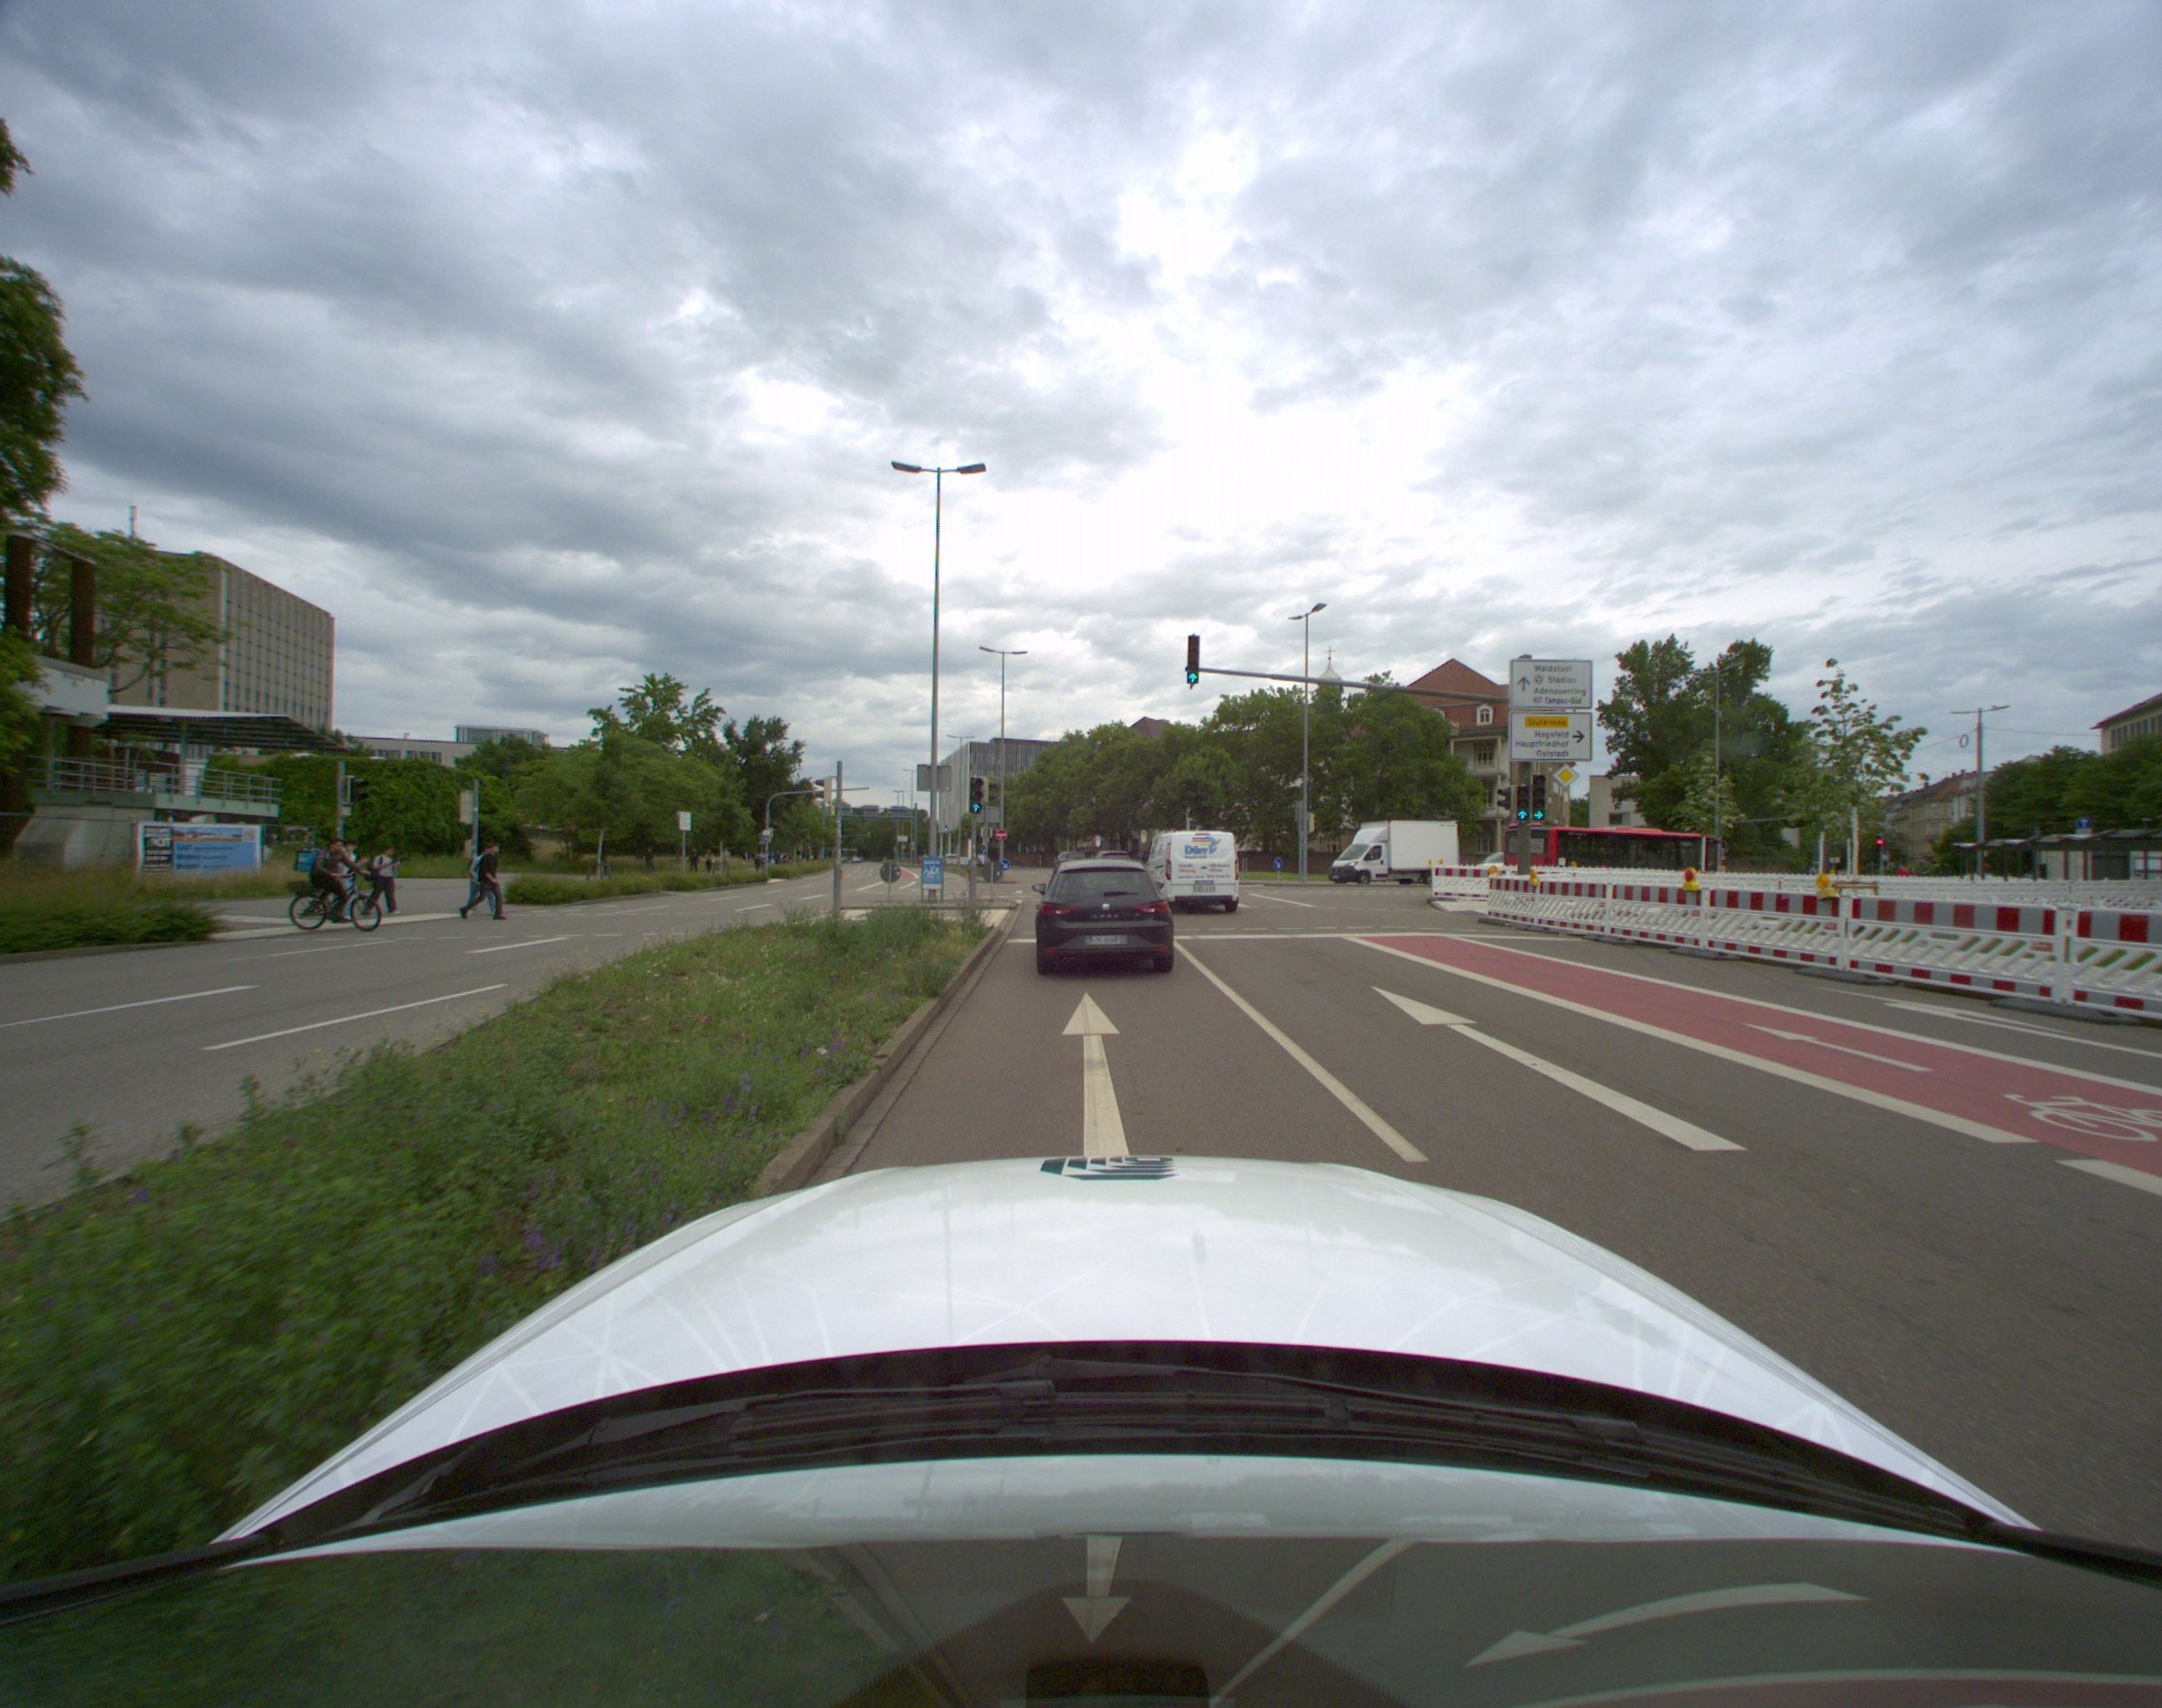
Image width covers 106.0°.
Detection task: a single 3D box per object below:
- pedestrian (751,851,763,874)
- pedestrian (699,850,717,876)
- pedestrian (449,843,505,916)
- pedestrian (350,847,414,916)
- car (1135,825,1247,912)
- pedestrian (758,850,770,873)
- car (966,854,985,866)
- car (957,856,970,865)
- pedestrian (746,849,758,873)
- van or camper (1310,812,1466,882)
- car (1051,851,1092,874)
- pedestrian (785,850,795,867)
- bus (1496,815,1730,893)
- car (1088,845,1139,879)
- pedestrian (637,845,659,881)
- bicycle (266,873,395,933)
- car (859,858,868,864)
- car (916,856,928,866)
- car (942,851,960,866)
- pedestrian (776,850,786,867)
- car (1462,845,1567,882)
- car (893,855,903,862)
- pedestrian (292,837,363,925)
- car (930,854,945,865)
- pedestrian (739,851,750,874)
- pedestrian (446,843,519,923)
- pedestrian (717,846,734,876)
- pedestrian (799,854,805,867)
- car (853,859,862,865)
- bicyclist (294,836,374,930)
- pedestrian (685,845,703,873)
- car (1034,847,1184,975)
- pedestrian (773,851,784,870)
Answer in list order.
[{"bbox_3d":[-26.242,0.716,65.919,0.713,1.870,0.755,0,-1,-9],"label":"pedestrian"},{"bbox_3d":[-24.049,0.578,52.477,0.754,1.712,1.045,0,-1,-5],"label":"pedestrian"},{"bbox_3d":[-15.353,0.641,20.714,0.889,1.842,0.668,0,-1,3],"label":"pedestrian"},{"bbox_3d":[-17.059,0.656,19.890,0.838,1.649,0.807,0,-1,3],"label":"pedestrian"},{"bbox_3d":[2.737,0.347,21.558,1.990,2.019,5.024,0,0,-4],"label":"car"},{"bbox_3d":[-27.526,0.647,70.697,0.755,2.014,1.044,0,-1,-9],"label":"pedestrian"},{"bbox_3d":[-14.633,0.840,112.424,1.923,1.684,3.975,1,0,-18],"label":"car"},{"bbox_3d":[-17.856,1.023,123.327,1.529,1.365,2.953,0,0,-16],"label":"car"},{"bbox_3d":[-28.403,0.584,70.372,0.755,2.014,1.044,0,-1,-9],"label":"pedestrian"},{"bbox_3d":[15.454,-0.271,41.042,7.149,3.332,2.859,0,-2,-18],"label":"van or camper"},{"bbox_3d":[-0.694,0.568,55.748,1.996,1.566,4.186,0,0,-13],"label":"car"},{"bbox_3d":[-32.203,0.523,90.248,0.919,1.778,1.060,0,3,-14],"label":"pedestrian"},{"bbox_3d":[25.279,0.071,38.450,12.393,3.298,3.044,1,-1,-24],"label":"bus"},{"bbox_3d":[1.531,0.378,40.010,1.856,1.600,4.195,0,0,-7],"label":"car"},{"bbox_3d":[-24.673,0.507,46.409,0.754,2.014,1.045,0,-1,-5],"label":"pedestrian"},{"bbox_3d":[-15.009,0.966,16.312,1.892,1.159,0.792,0,0,4],"label":"bicycle"},{"bbox_3d":[-61.077,2.034,228.730,2.003,1.780,3.967,1,0,-25],"label":"car"},{"bbox_3d":[-29.751,1.286,152.186,1.997,1.682,3.990,1,0,-15],"label":"car"},{"bbox_3d":[-18.326,0.662,114.631,1.998,2.014,3.977,0,0,-17],"label":"car"},{"bbox_3d":[-33.122,0.532,90.028,0.919,1.778,1.060,0,3,-14],"label":"pedestrian"},{"bbox_3d":[23.165,0.544,43.545,5.002,1.865,1.987,0,-4,-18],"label":"car"},{"bbox_3d":[-36.214,0.925,160.974,1.716,1.265,3.320,1,0,-17],"label":"car"},{"bbox_3d":[-16.398,0.572,17.741,0.753,1.842,0.767,2,0,4],"label":"pedestrian"},{"bbox_3d":[-22.517,0.885,127.713,1.998,1.640,3.977,0,0,-17],"label":"car"},{"bbox_3d":[-27.134,0.691,65.676,0.713,1.870,0.755,0,-1,-9],"label":"pedestrian"},{"bbox_3d":[-14.147,0.671,19.283,1.044,1.842,0.867,0,-1,3],"label":"pedestrian"},{"bbox_3d":[-24.466,0.497,56.039,0.754,2.014,1.045,0,-1,-5],"label":"pedestrian"},{"bbox_3d":[-44.151,1.004,129.013,0.721,2.014,0.780,0,-1,-8],"label":"pedestrian"},{"bbox_3d":[-51.330,1.781,186.817,1.693,1.416,3.617,1,0,-22],"label":"car"},{"bbox_3d":[-14.940,0.566,16.303,0.827,1.844,0.793,0,-1,4],"label":"bicyclist"},{"bbox_3d":[-24.831,0.329,52.258,0.754,1.765,0.904,0,-1,-6],"label":"pedestrian"},{"bbox_3d":[0.257,0.712,11.573,1.741,1.464,3.996,1,-1,-2],"label":"car"},{"bbox_3d":[-29.705,0.648,79.931,0.919,1.779,1.059,0,0,-14],"label":"pedestrian"}]
